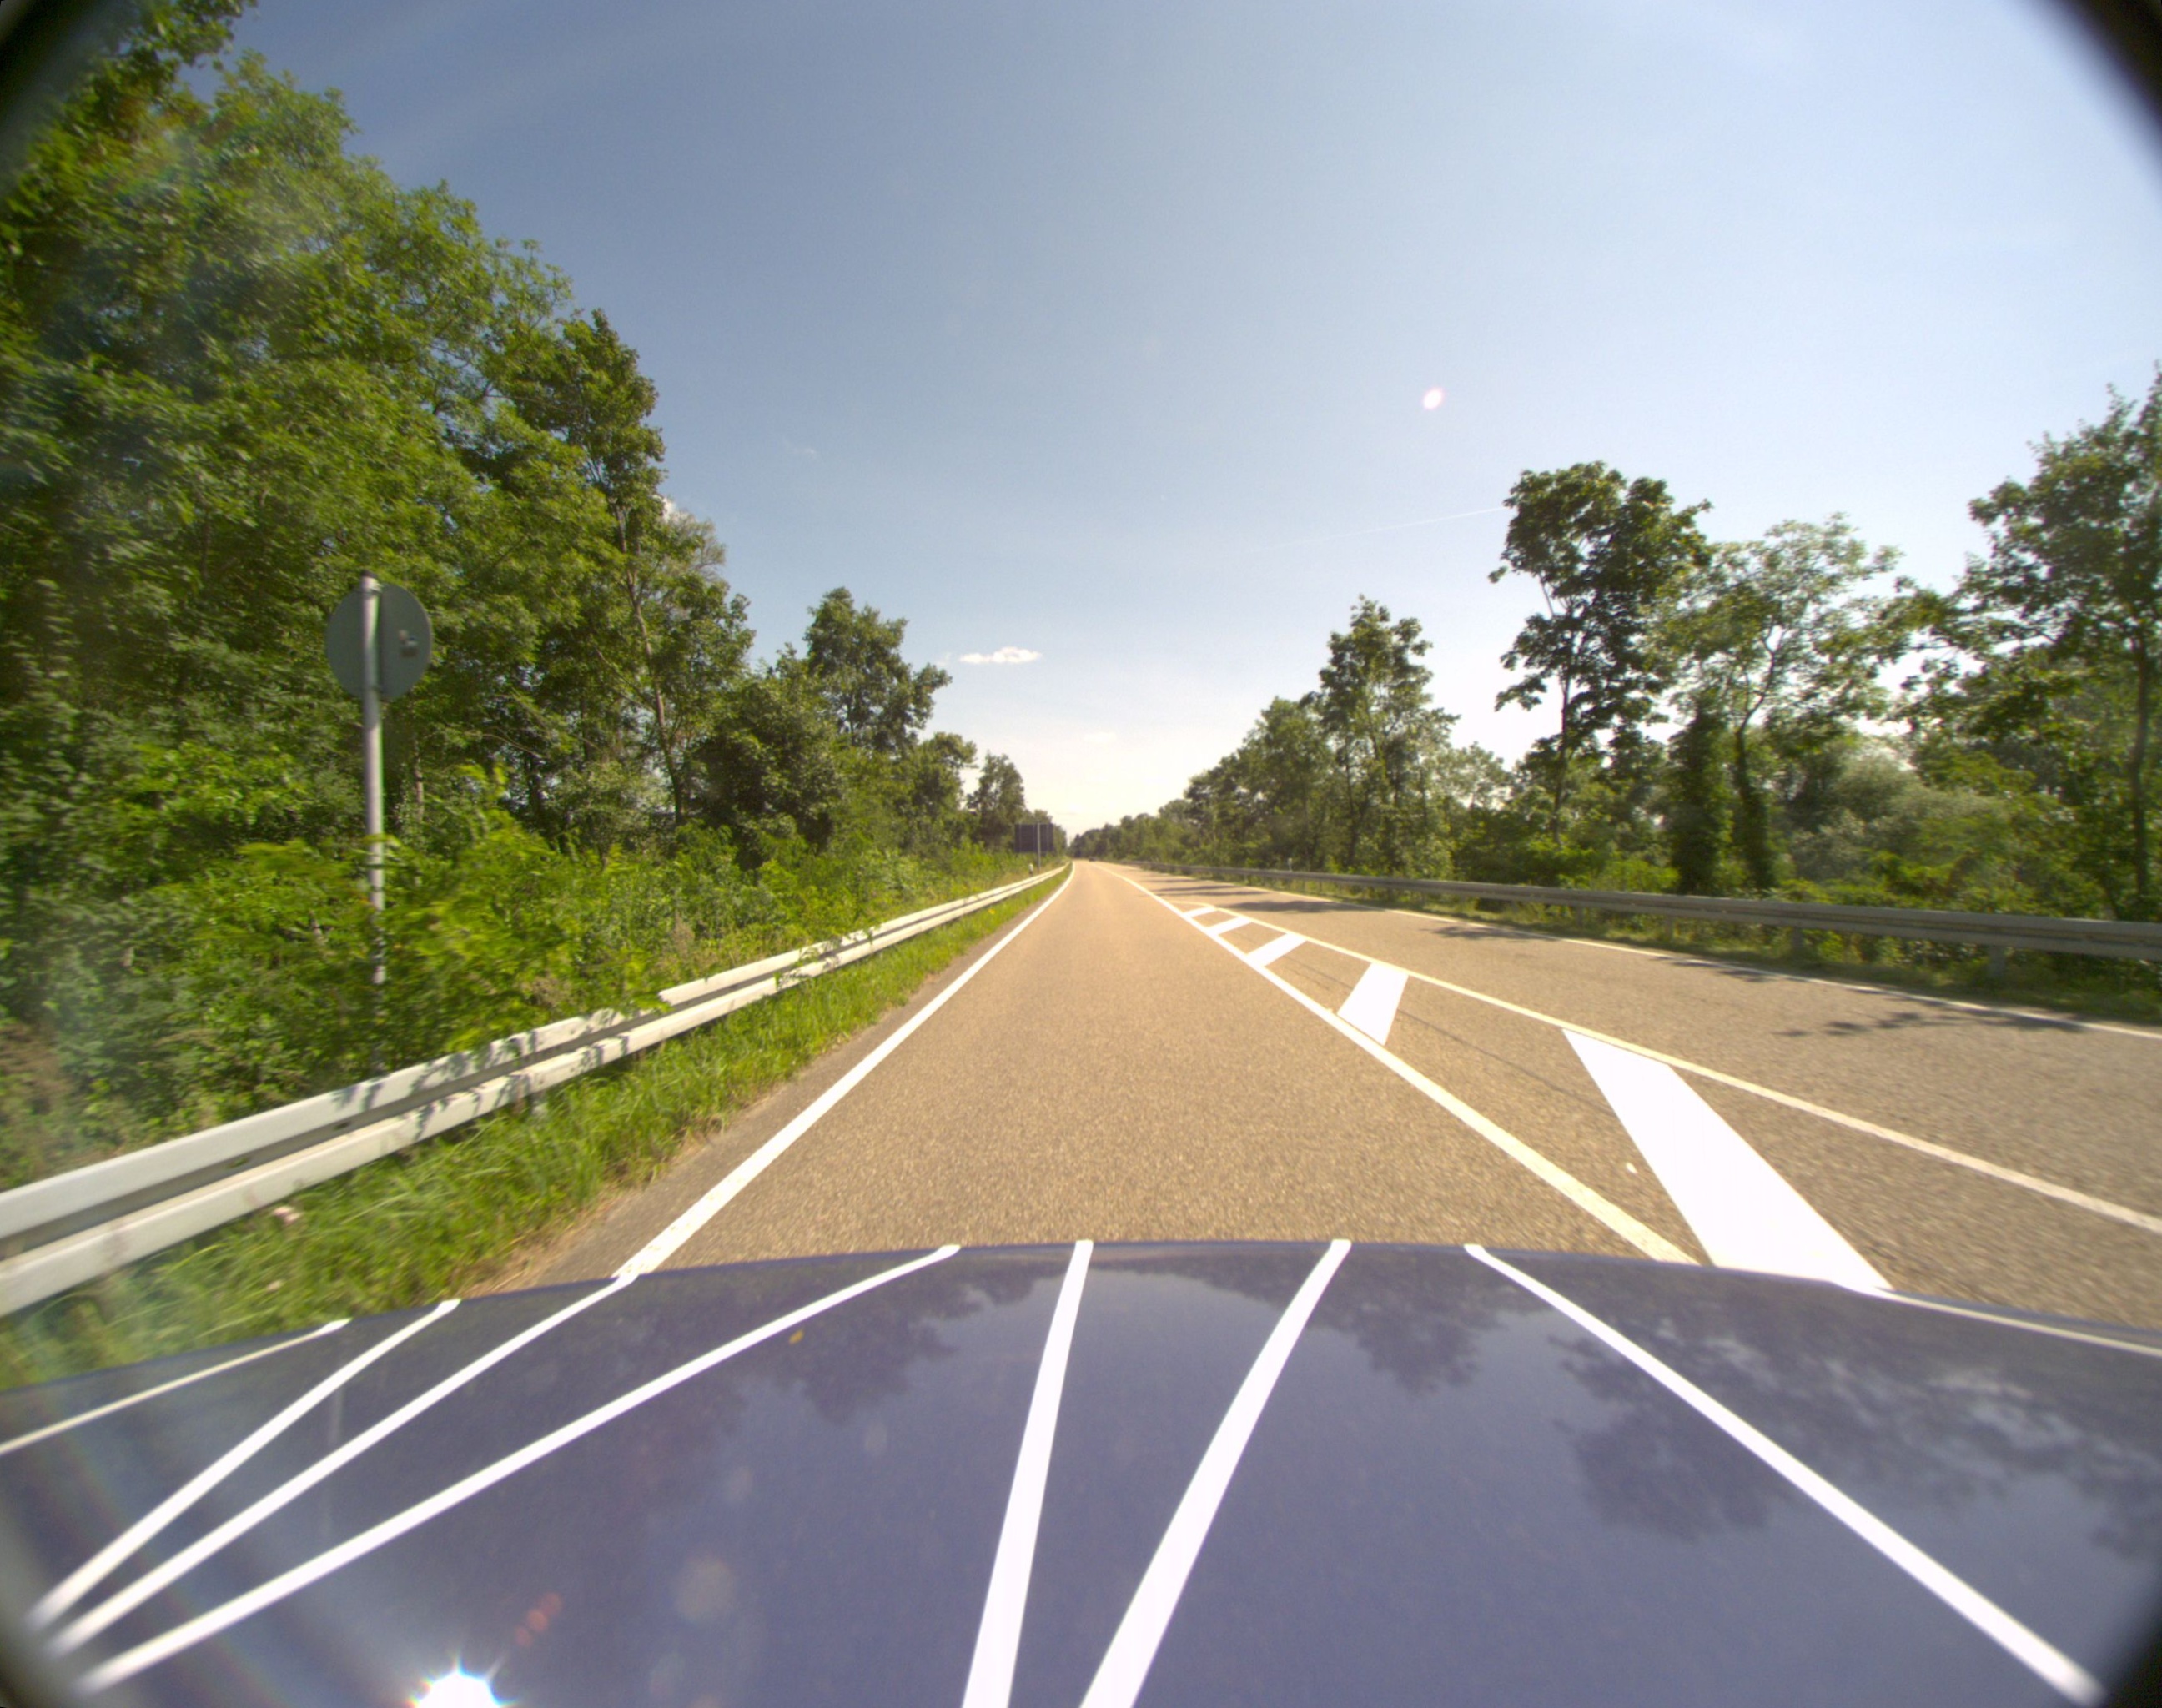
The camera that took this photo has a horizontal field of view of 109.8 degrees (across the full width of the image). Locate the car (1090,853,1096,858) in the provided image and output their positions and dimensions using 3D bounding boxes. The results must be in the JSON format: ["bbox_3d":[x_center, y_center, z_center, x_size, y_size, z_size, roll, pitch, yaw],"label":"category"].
[{"bbox_3d":[3.747,0.567,236.087,1.750,1.416,4.677,-1,0,0],"label":"car"}]
